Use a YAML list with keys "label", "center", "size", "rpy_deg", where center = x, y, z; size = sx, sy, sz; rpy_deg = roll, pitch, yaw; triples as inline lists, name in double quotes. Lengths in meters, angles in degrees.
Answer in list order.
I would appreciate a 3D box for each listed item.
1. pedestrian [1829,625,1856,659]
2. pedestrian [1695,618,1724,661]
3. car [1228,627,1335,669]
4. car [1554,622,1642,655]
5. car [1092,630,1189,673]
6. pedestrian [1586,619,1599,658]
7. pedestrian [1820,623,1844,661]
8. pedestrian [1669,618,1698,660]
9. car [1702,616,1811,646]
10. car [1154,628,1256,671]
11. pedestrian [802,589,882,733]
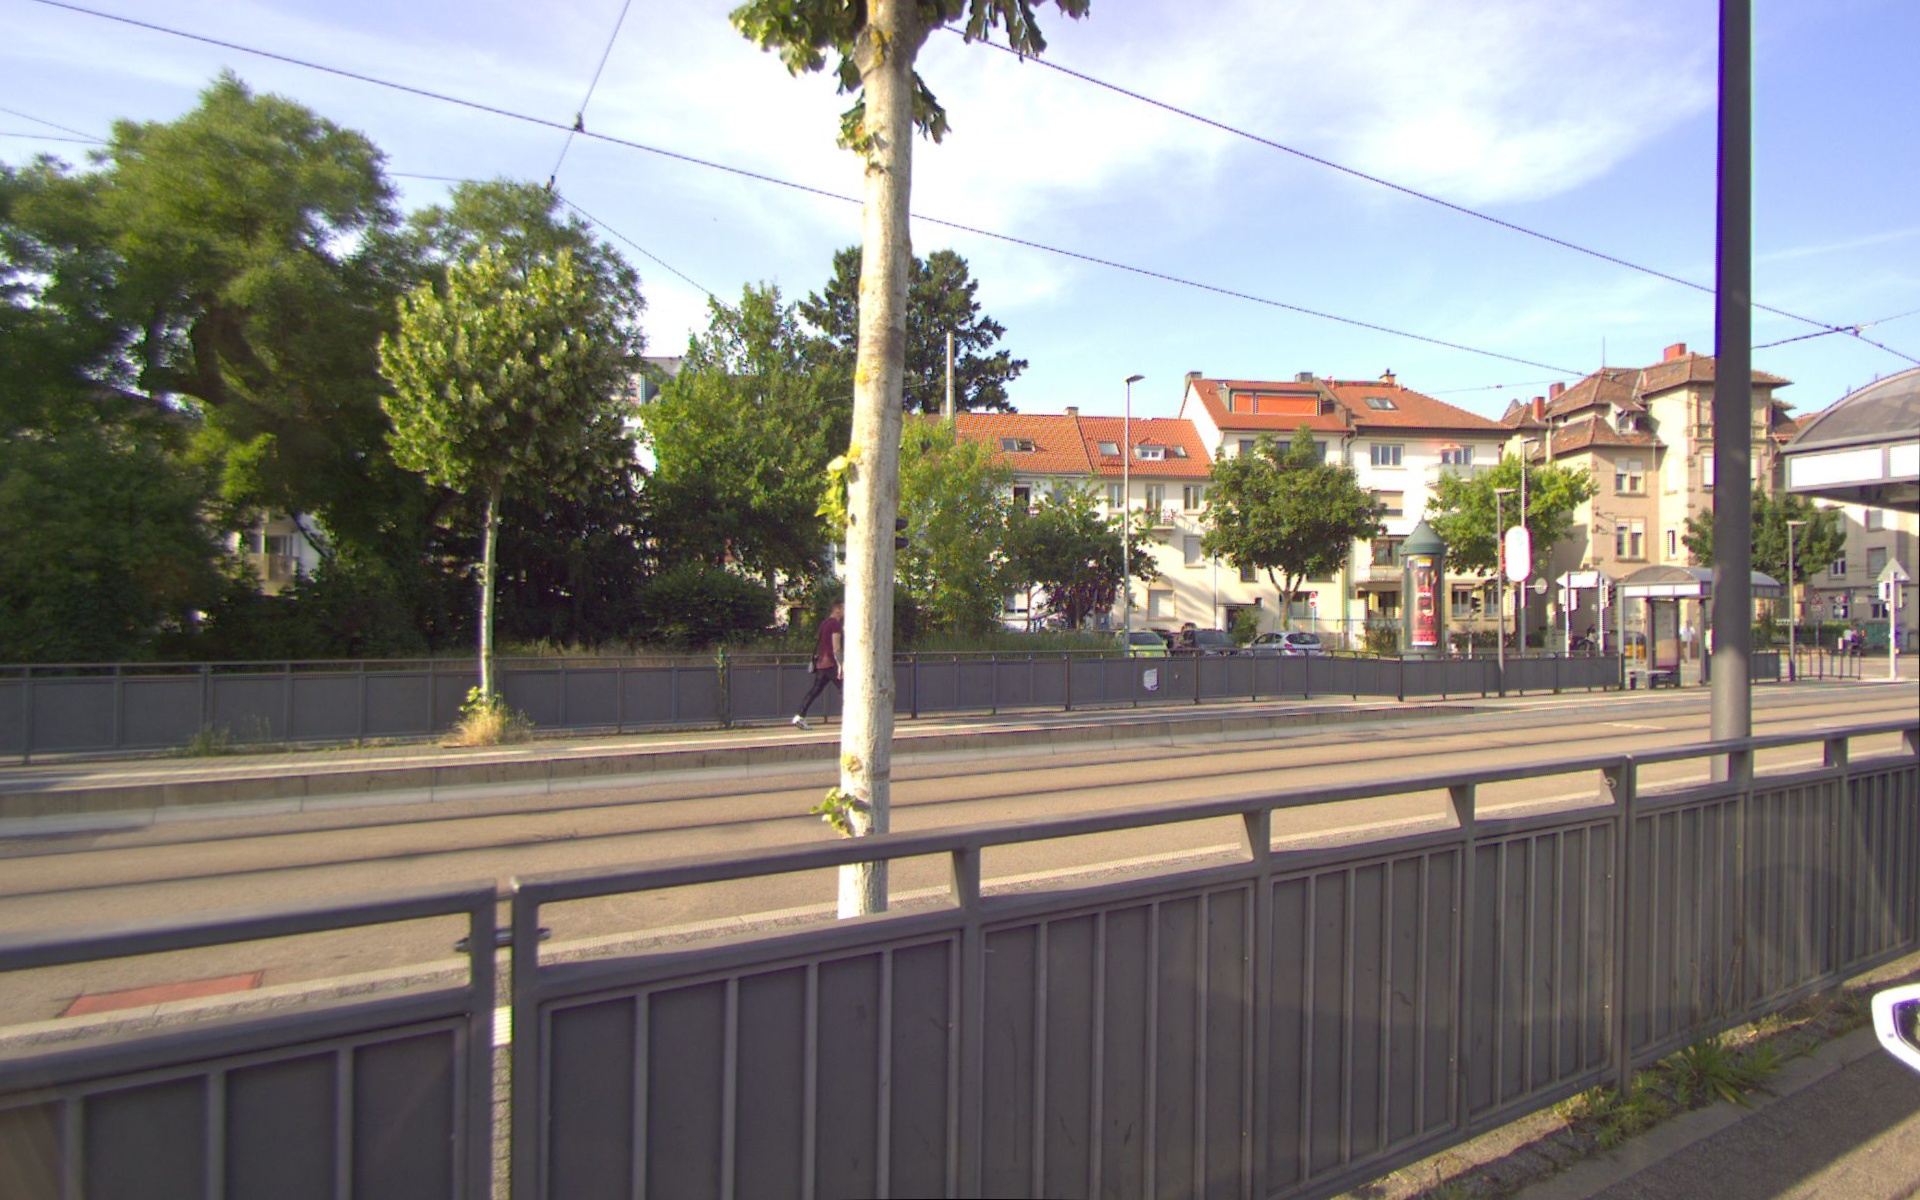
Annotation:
- label: "pedestrian"
  center: [47.184, 2.221, 53.706]
  size: [0.736, 1.776, 0.883]
  rpy_deg: [0, 0, -26]
- label: "pedestrian"
  center: [31.614, 1.664, 42.370]
  size: [0.740, 1.776, 0.879]
  rpy_deg: [0, 0, -40]
- label: "car"
  center: [11.857, 1.743, 37.330]
  size: [1.967, 1.416, 3.988]
  rpy_deg: [0, -1, -15]
- label: "car"
  center: [35.535, 2.111, 56.076]
  size: [1.965, 1.773, 3.991]
  rpy_deg: [0, -1, -12]
- label: "car"
  center: [6.473, 1.817, 36.426]
  size: [1.967, 1.416, 3.988]
  rpy_deg: [0, -1, -15]
- label: "pedestrian"
  center: [33.250, 2.029, 52.798]
  size: [0.400, 2.040, 0.382]
  rpy_deg: [0, 0, -11]
- label: "pedestrian"
  center: [41.711, 1.992, 48.049]
  size: [0.736, 1.776, 0.663]
  rpy_deg: [0, 0, -26]
- label: "pedestrian"
  center: [31.017, 1.666, 43.077]
  size: [0.740, 1.776, 0.879]
  rpy_deg: [0, 0, -40]
- label: "car"
  center: [44.900, 1.722, 56.692]
  size: [4.628, 1.649, 2.208]
  rpy_deg: [0, -1, -7]
- label: "car"
  center: [8.868, 1.760, 36.685]
  size: [1.967, 1.416, 3.988]
  rpy_deg: [0, -1, -15]
- label: "pedestrian"
  center: [-1.516, 0.759, 12.861]
  size: [0.763, 1.756, 0.832]
  rpy_deg: [0, -1, -29]
